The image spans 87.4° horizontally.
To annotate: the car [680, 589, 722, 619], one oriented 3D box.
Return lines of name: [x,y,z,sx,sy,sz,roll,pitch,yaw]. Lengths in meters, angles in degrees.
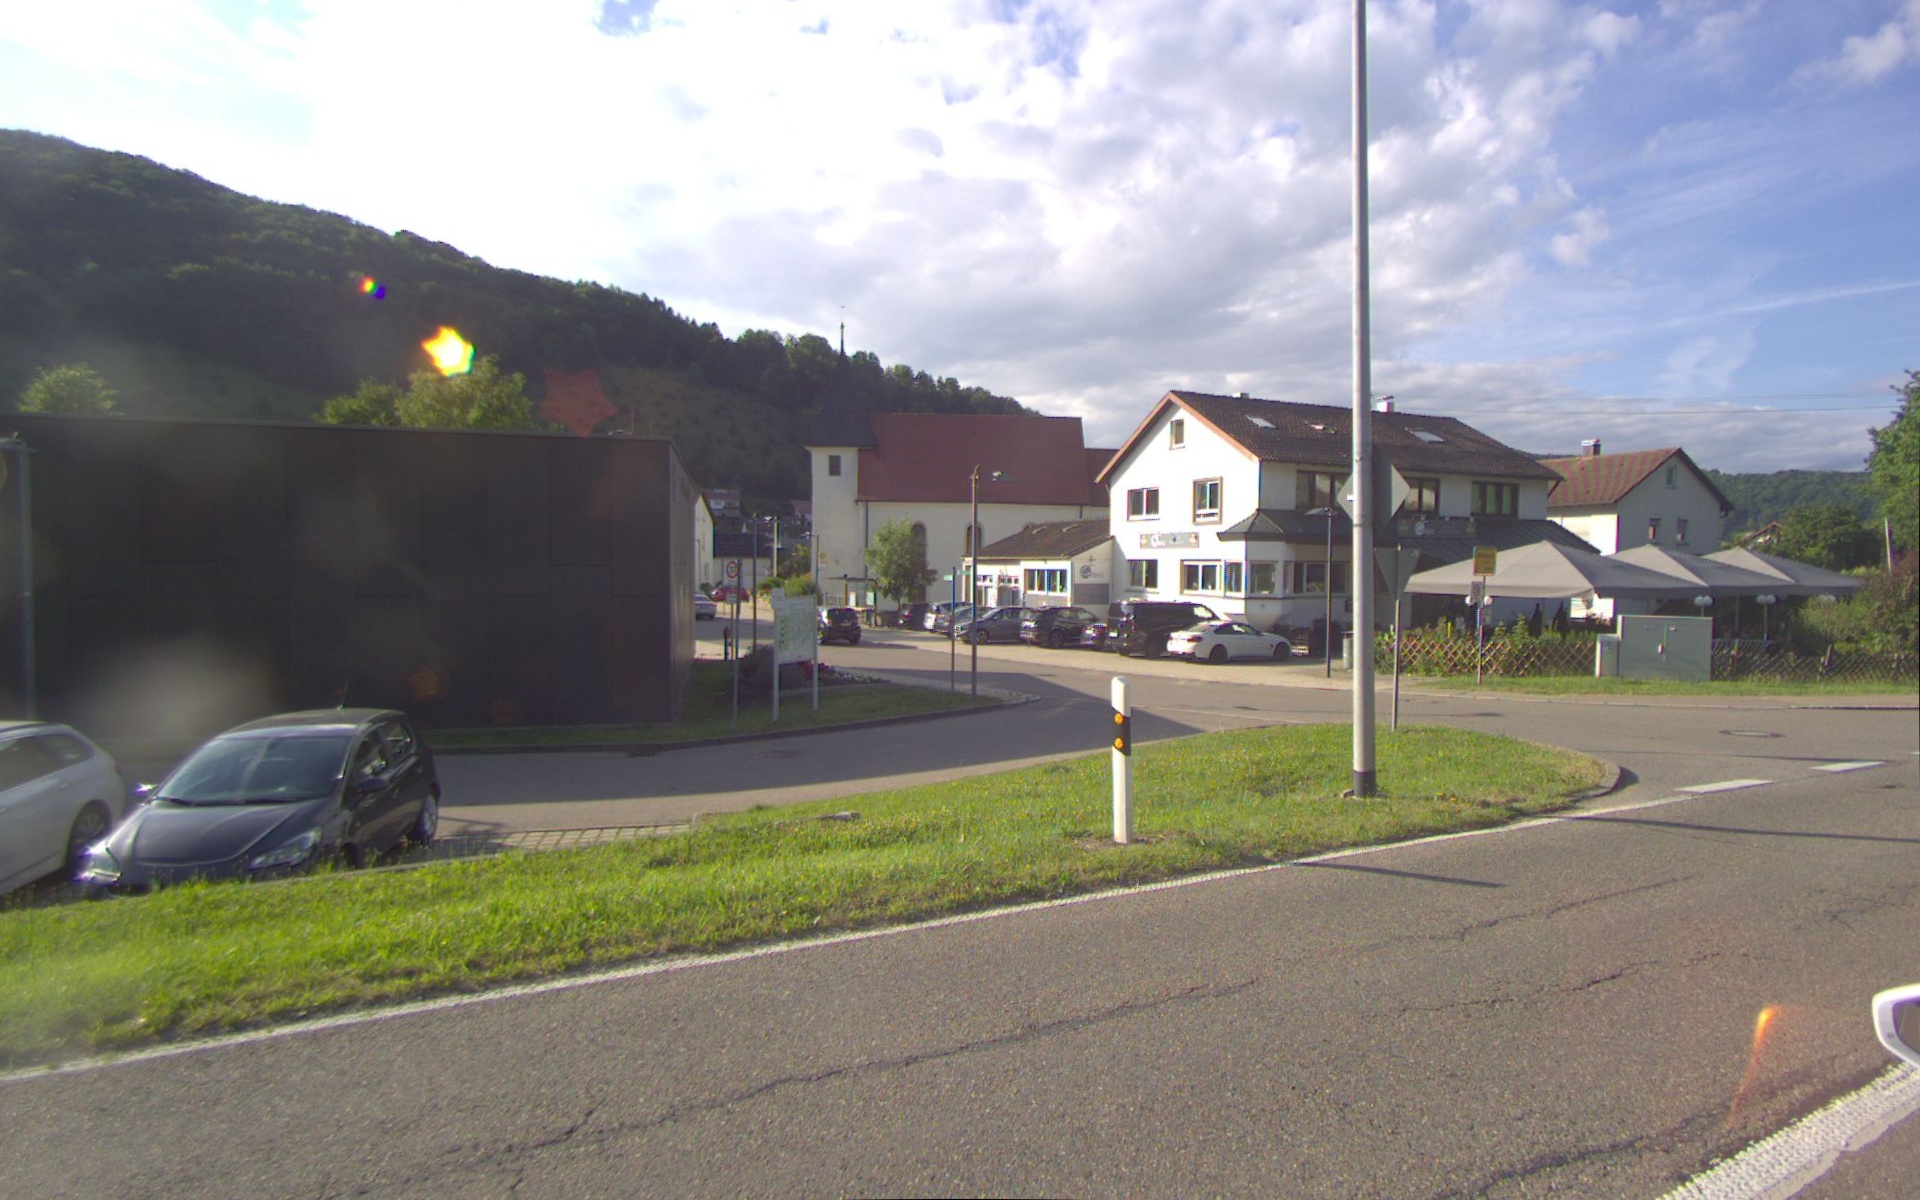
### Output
car: [-15.611,0.266,60.389,1.761,1.706,3.975,1,-1,-25]

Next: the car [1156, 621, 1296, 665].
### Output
car: [9.119,1.428,34.356,4.518,1.408,1.986,1,-1,-28]

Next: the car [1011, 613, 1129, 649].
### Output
car: [4.562,1.254,41.553,4.518,1.431,1.986,1,-1,-28]

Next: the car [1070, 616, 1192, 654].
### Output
car: [6.753,1.357,39.670,4.518,1.408,1.986,1,-1,-28]

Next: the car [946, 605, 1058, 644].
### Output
car: [1.832,1.072,43.678,4.518,1.618,1.986,1,-1,-28]

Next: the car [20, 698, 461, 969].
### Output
car: [-6.120,1.847,9.205,1.801,1.555,3.991,1,-1,-12]

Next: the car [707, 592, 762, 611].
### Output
car: [-18.462,0.098,82.234,1.972,1.528,3.977,1,0,43]

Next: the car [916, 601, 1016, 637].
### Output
car: [0.314,0.942,49.428,4.518,1.665,1.986,1,-1,-28]

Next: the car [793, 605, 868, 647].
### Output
car: [-5.649,1.064,43.576,1.870,1.706,3.968,0,0,-30]

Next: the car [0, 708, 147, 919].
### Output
car: [-8.728,1.835,7.899,1.881,1.517,4.640,1,-1,-15]

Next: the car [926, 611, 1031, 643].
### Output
car: [0.872,1.248,46.832,4.518,1.431,1.986,1,-1,-28]

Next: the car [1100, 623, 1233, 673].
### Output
car: [7.515,1.711,36.522,4.518,1.707,1.986,1,-1,-28]
